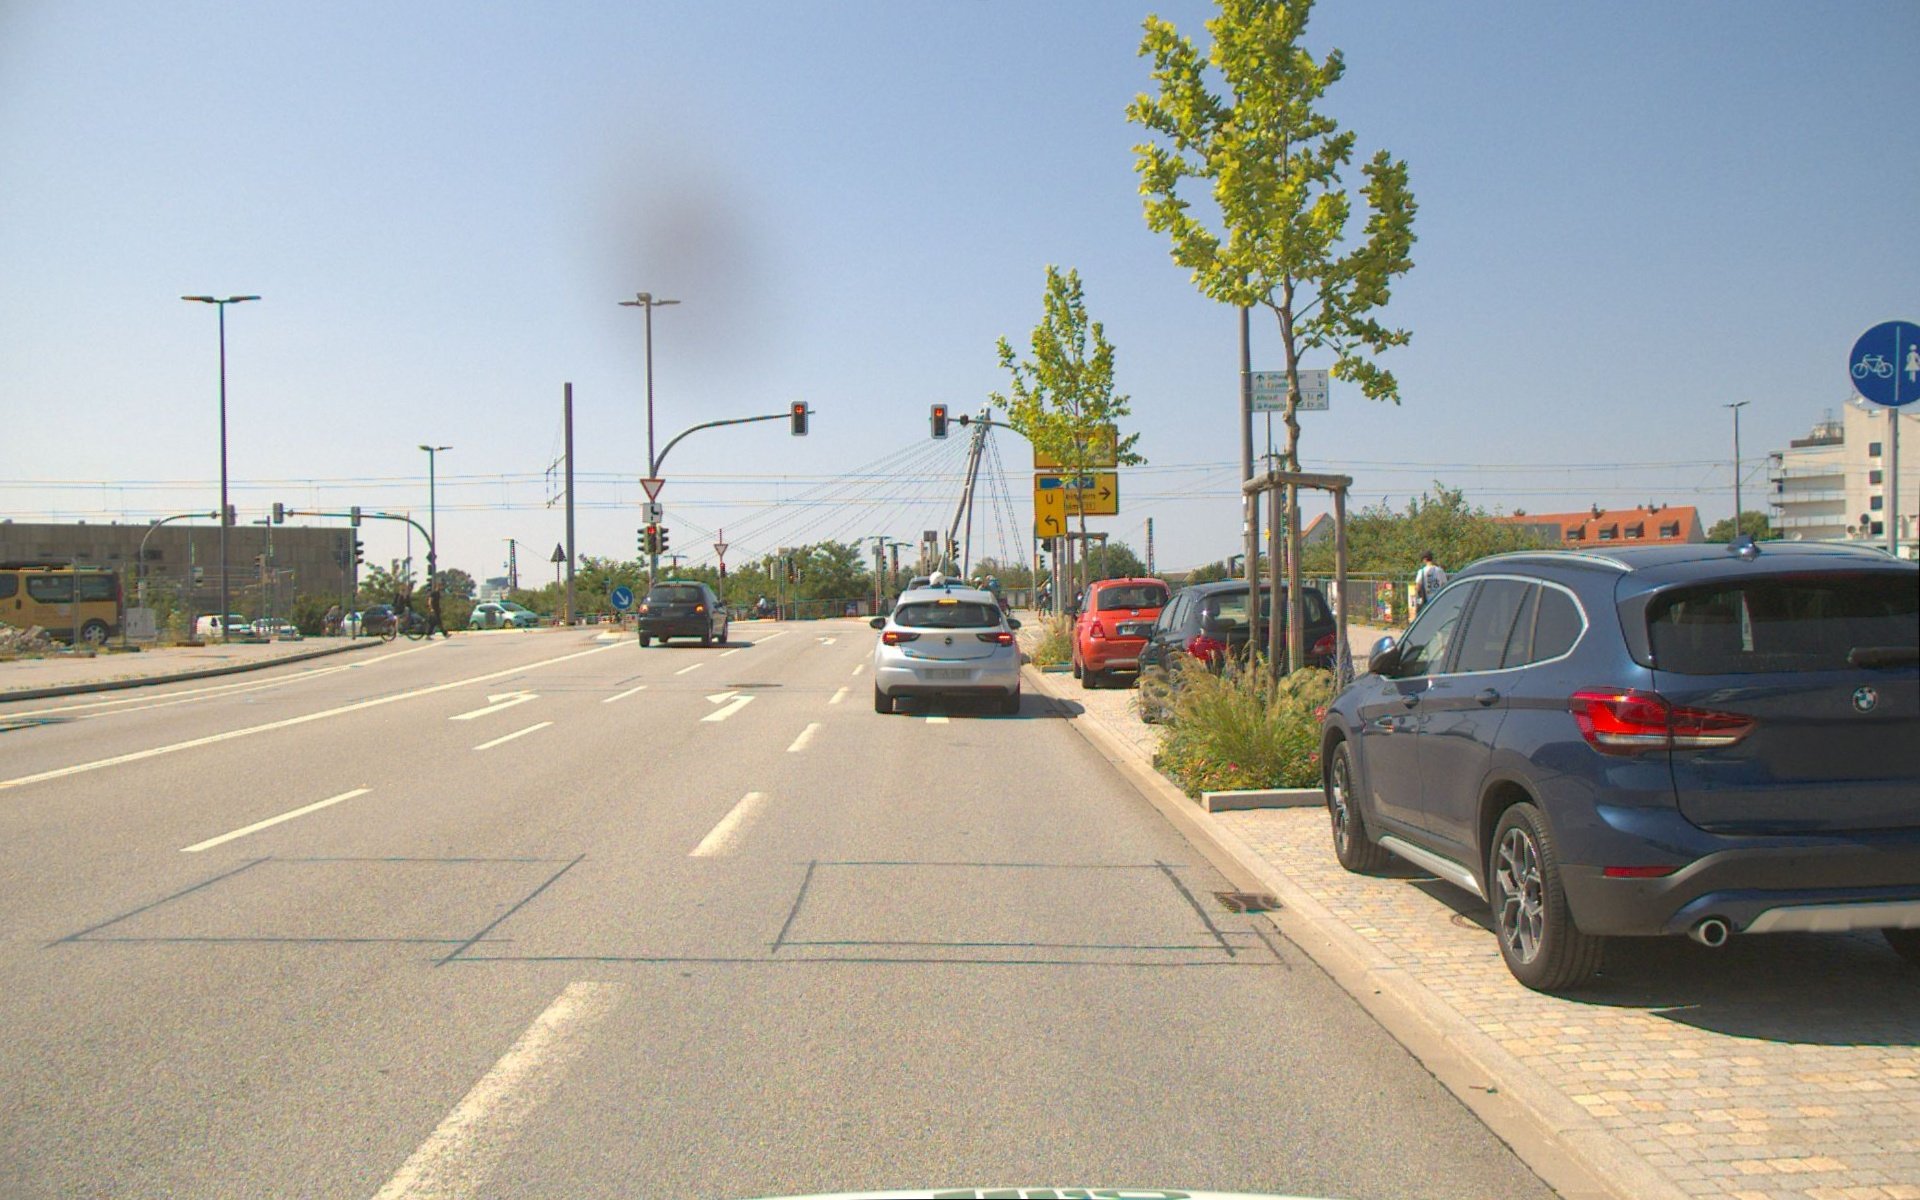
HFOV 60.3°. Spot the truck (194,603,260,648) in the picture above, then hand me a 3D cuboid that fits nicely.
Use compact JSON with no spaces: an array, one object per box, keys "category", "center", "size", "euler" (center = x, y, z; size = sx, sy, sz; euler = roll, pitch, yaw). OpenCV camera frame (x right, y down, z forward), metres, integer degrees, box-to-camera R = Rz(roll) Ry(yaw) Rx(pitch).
[{"category":"truck","center":[-43.723,1.507,98.609],"size":[4.628,2.585,1.987],"euler":[0,0,44]}]

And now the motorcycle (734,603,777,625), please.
[{"category":"motorcycle","center":[-12.127,0.809,98.221],"size":[2.485,1.255,0.648],"euler":[1,-1,-2]}]

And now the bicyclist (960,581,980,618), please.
[{"category":"bicyclist","center":[0.321,-0.002,54.232],"size":[0.643,1.196,0.731],"euler":[1,0,1]}]

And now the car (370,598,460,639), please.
[{"category":"car","center":[-27.045,0.899,82.147],"size":[3.667,1.608,1.819],"euler":[-1,11,12]}]

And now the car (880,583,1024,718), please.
[{"category":"car","center":[-0.121,0.566,21.182],"size":[1.656,1.546,4.270],"euler":[0,0,-1]}]

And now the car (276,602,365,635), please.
[{"category":"car","center":[-32.142,0.924,83.191],"size":[3.889,1.578,1.677],"euler":[-1,-1,12]}]

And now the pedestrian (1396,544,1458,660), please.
[{"category":"pedestrian","center":[7.652,0.031,27.111],"size":[0.742,1.862,0.885],"euler":[1,-1,-1]}]

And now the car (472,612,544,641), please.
[{"category":"car","center":[-22.751,1.328,83.174],"size":[3.727,1.386,1.527],"euler":[-1,1,36]}]

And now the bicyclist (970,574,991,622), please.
[{"category":"bicyclist","center":[0.666,-0.063,53.141],"size":[0.643,1.528,0.844],"euler":[1,0,1]}]

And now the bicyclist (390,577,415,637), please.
[{"category":"bicyclist","center":[-18.091,0.223,53.654],"size":[0.582,1.920,0.636],"euler":[1,-1,-5]}]

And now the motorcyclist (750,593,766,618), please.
[{"category":"motorcyclist","center":[-11.996,0.333,98.215],"size":[0.792,1.502,0.885],"euler":[1,0,0]}]

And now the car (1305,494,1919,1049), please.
[{"category":"car","center":[2.932,0.532,7.386],"size":[1.767,1.712,4.270],"euler":[-2,0,-1]}]

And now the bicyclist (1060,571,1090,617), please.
[{"category":"bicyclist","center":[4.088,-0.215,58.737],"size":[0.803,1.596,0.948],"euler":[1,-1,20]}]

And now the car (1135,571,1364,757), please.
[{"category":"car","center":[2.788,0.548,16.614],"size":[1.549,1.582,3.546],"euler":[-3,1,-1]}]

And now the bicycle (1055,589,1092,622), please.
[{"category":"bicycle","center":[4.029,0.198,58.548],"size":[0.661,1.147,2.366],"euler":[1,0,20]}]

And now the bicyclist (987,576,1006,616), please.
[{"category":"bicyclist","center":[1.408,-0.150,64.272],"size":[0.704,1.530,0.824],"euler":[0,0,0]}]

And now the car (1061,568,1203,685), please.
[{"category":"car","center":[2.523,0.379,25.099],"size":[1.636,1.567,3.916],"euler":[-2,0,-1]}]

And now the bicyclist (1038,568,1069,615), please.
[{"category":"bicyclist","center":[3.156,-0.280,55.773],"size":[0.842,1.587,0.825],"euler":[1,-1,17]}]

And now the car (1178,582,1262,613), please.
[{"category":"car","center":[14.506,-0.130,92.372],"size":[4.179,1.703,1.990],"euler":[0,0,-18]}]

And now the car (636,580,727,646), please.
[{"category":"car","center":[-6.311,0.292,37.811],"size":[1.555,1.419,3.339],"euler":[0,0,-1]}]

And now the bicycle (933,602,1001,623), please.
[{"category":"bicycle","center":[0.236,0.410,54.229],"size":[2.199,0.704,0.516],"euler":[0,0,1]}]

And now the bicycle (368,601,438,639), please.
[{"category":"bicycle","center":[-18.068,0.647,53.667],"size":[2.040,1.198,0.555],"euler":[1,-1,-6]}]

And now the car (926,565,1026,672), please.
[{"category":"car","center":[0.236,0.311,28.820],"size":[1.601,1.703,3.744],"euler":[1,0,-1]}]

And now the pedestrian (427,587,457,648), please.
[{"category":"pedestrian","center":[-16.339,0.538,52.181],"size":[0.726,1.896,0.752],"euler":[1,-1,-8]}]

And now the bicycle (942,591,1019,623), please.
[{"category":"bicycle","center":[0.651,0.216,53.119],"size":[2.453,1.025,0.605],"euler":[0,0,0]}]

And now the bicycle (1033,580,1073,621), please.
[{"category":"bicycle","center":[3.145,0.009,55.705],"size":[0.711,1.153,2.535],"euler":[-4,3,17]}]

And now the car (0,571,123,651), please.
[{"category":"car","center":[-23.327,0.262,40.704],"size":[1.961,1.923,4.466],"euler":[1,0,38]}]

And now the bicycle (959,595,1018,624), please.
[{"category":"bicycle","center":[1.092,0.367,64.251],"size":[2.271,1.153,0.637],"euler":[0,0,0]}]

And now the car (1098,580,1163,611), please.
[{"category":"car","center":[9.691,-0.246,94.212],"size":[3.329,1.684,1.638],"euler":[1,0,-19]}]

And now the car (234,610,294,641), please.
[{"category":"car","center":[-42.655,1.559,101.358],"size":[3.975,1.846,1.920],"euler":[0,0,43]}]
